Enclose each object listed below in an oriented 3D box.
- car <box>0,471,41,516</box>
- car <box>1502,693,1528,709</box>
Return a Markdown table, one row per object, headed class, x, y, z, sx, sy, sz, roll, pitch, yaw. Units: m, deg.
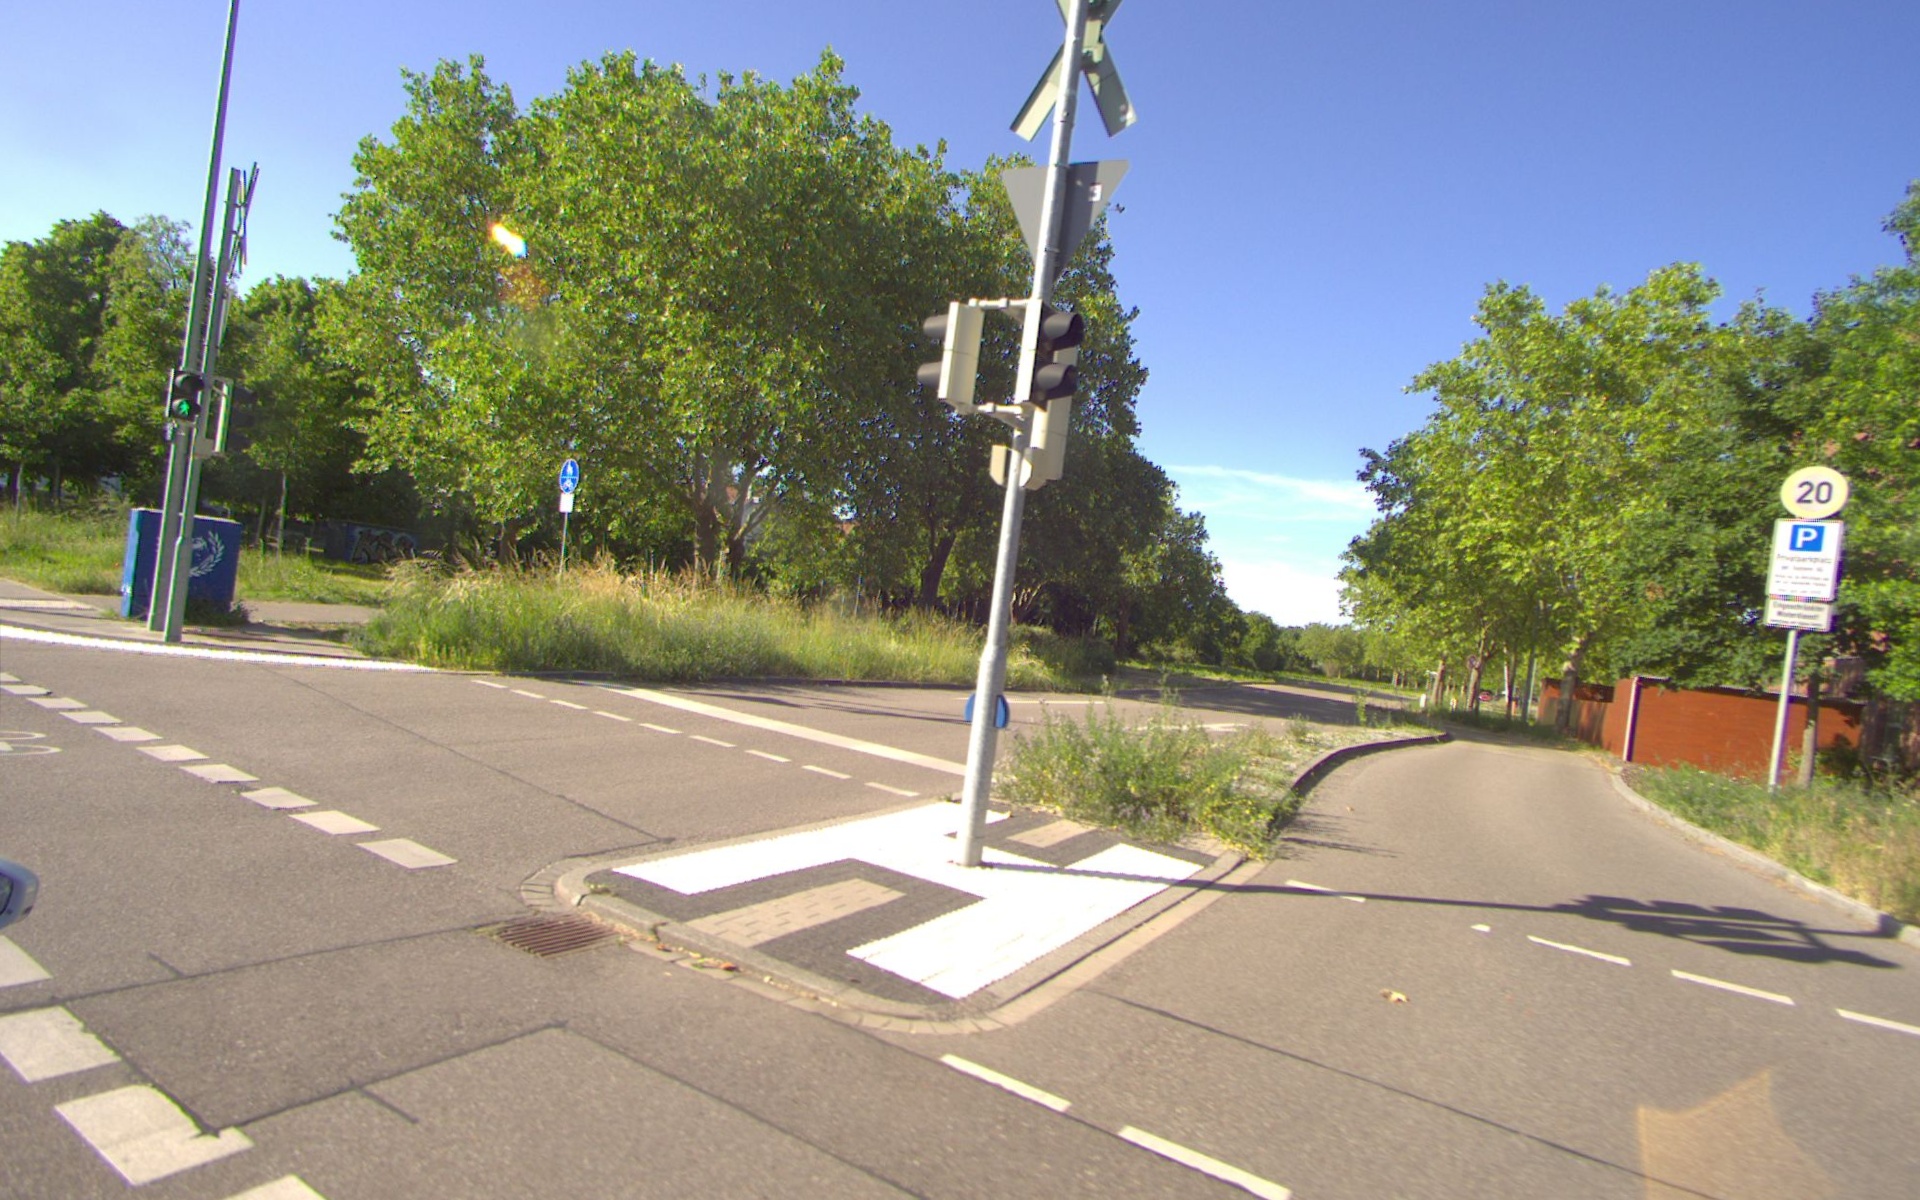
| class | x | y | z | sx | sy | sz | roll | pitch | yaw |
| --- | --- | --- | --- | --- | --- | --- | --- | --- | --- |
| car | -49.526 | -5.616 | 51.833 | 5.083 | 1.989 | 1.875 | 7 | -1 | 33 |
| car | 66.281 | 12.054 | 120.121 | 1.935 | 1.549 | 3.986 | 8 | 0 | 38 |
